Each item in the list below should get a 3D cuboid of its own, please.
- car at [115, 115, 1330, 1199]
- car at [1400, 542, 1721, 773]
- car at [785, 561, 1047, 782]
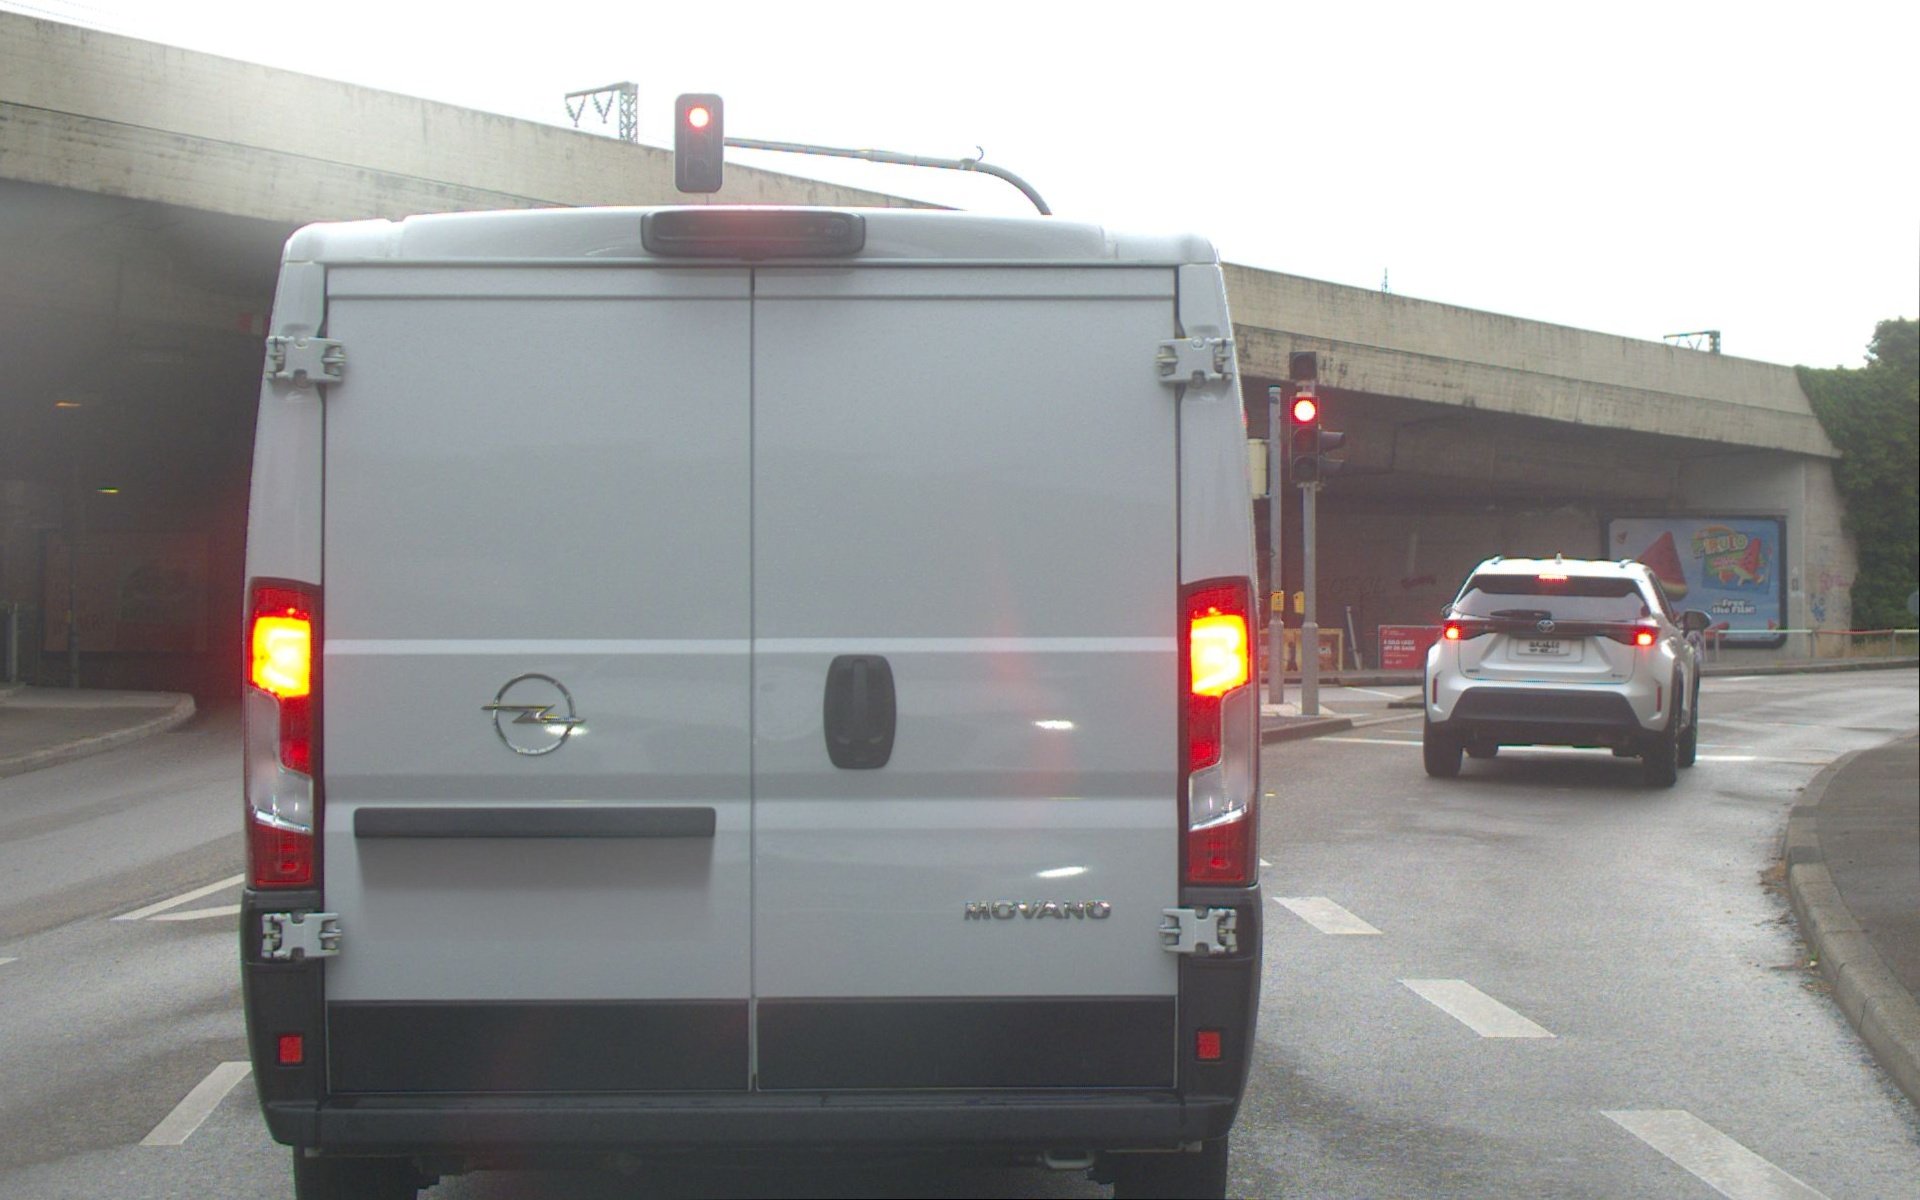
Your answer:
[{"bbox_3d":[-0.528,0.221,9.179,2.305,2.335,5.283,0,1,-2],"label":"car"},{"bbox_3d":[4.486,0.392,25.241,1.995,1.544,3.997,0,0,15],"label":"car"},{"bbox_3d":[-0.295,0.581,28.934,1.994,1.723,3.999,0,-1,2],"label":"car"}]
